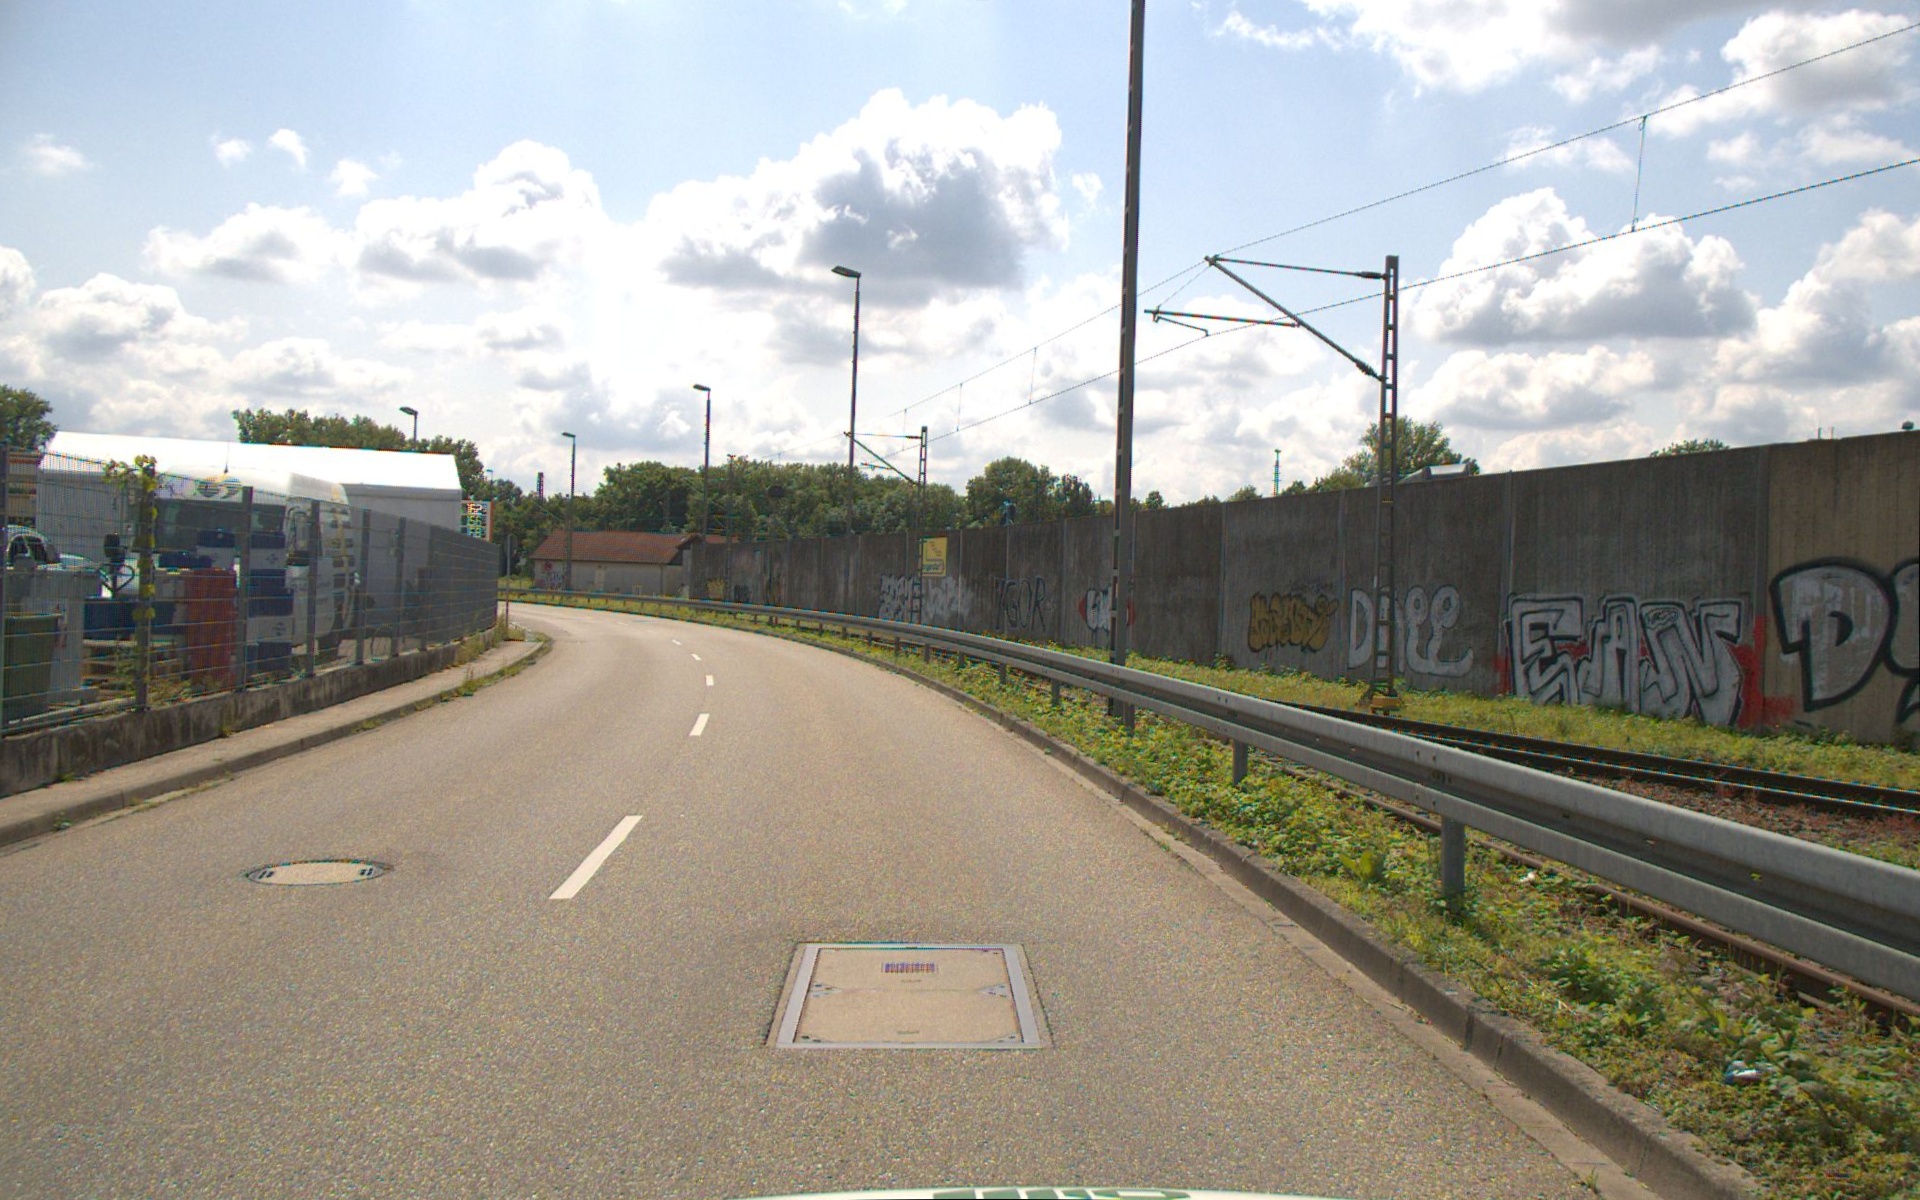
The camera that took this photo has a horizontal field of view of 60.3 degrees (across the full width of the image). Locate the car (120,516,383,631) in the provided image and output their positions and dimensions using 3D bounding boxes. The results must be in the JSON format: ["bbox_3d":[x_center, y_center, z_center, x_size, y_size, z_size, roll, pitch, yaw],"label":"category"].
[{"bbox_3d":[-13.626,-0.470,31.887,4.499,2.062,2.042,1,0,-26],"label":"car"}]

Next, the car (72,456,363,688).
[{"bbox_3d":[-9.549,-0.355,21.952,2.082,2.581,6.698,1,1,-12],"label":"car"}]

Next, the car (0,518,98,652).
[{"bbox_3d":[-13.339,-0.227,22.655,1.946,1.697,3.982,1,1,-16],"label":"car"}]
